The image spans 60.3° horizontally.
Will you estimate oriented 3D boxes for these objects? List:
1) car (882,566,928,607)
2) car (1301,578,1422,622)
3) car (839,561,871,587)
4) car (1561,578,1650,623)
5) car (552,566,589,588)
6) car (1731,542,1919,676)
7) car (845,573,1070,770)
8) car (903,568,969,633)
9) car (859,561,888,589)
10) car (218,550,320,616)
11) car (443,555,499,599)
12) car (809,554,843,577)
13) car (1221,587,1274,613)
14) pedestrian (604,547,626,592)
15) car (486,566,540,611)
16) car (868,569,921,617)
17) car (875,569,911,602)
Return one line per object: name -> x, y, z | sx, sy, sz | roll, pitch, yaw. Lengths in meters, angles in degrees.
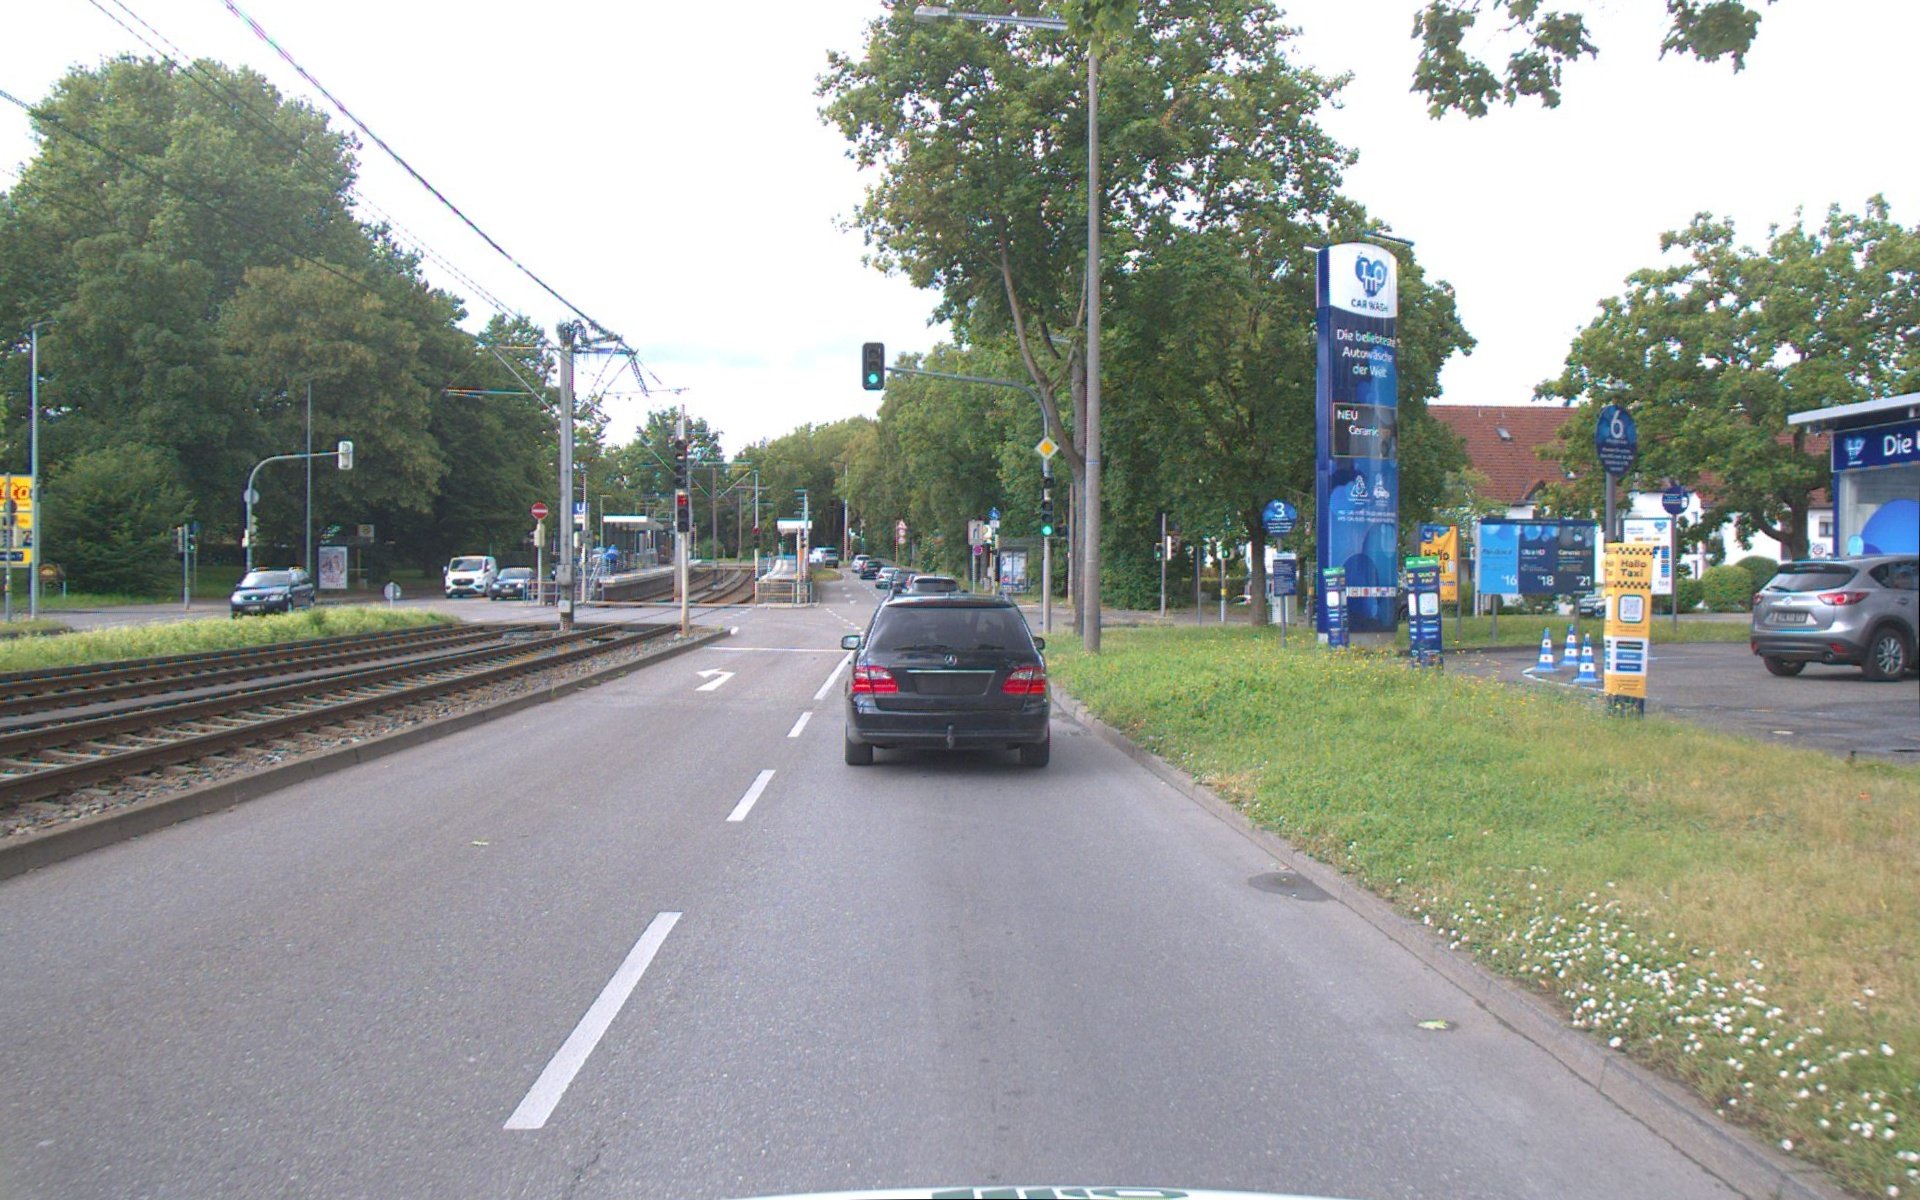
car -> -2.781, -0.670, 82.711 | 1.955, 1.951, 3.995 | 2, 0, -6
car -> 14.568, 0.001, 60.168 | 4.065, 1.552, 1.705 | 0, 0, 3
car -> -9.017, -2.220, 141.850 | 1.960, 2.049, 3.986 | 2, 0, -14
car -> 28.553, 0.023, 73.142 | 3.961, 1.796, 1.972 | 2, 0, -39
car -> -27.070, -1.618, 115.076 | 1.955, 1.507, 4.501 | 0, 2, -6
car -> 13.027, 0.069, 23.007 | 4.138, 1.727, 1.829 | -1, 1, -21
car -> -0.153, 0.542, 15.084 | 1.747, 1.552, 3.996 | 0, 1, -5
car -> -0.640, 0.008, 46.774 | 1.745, 1.677, 4.000 | 2, 0, 0
car -> -6.571, -1.859, 125.390 | 1.955, 2.001, 3.995 | 2, 0, -6
car -> -22.363, -0.547, 53.671 | 1.955, 2.049, 4.101 | 0, 0, -7
car -> -24.134, -1.122, 81.750 | 1.956, 2.049, 4.877 | -1, 0, -8
car -> -12.625, -3.264, 155.707 | 1.967, 2.049, 3.971 | 2, 0, -23
car -> 16.258, -0.009, 93.626 | 1.454, 1.410, 3.824 | 2, 0, -15
pedestrian -> -17.327, -1.532, 83.001 | 0.950, 2.224, 0.975 | 0, 1, -4
car -> -20.177, -0.525, 74.804 | 1.664, 1.893, 3.995 | 2, 0, -6
car -> -2.426, -0.245, 61.870 | 1.745, 1.677, 4.000 | 2, 0, 0
car -> -4.266, -0.893, 104.169 | 1.955, 1.926, 3.995 | 2, 0, -6
